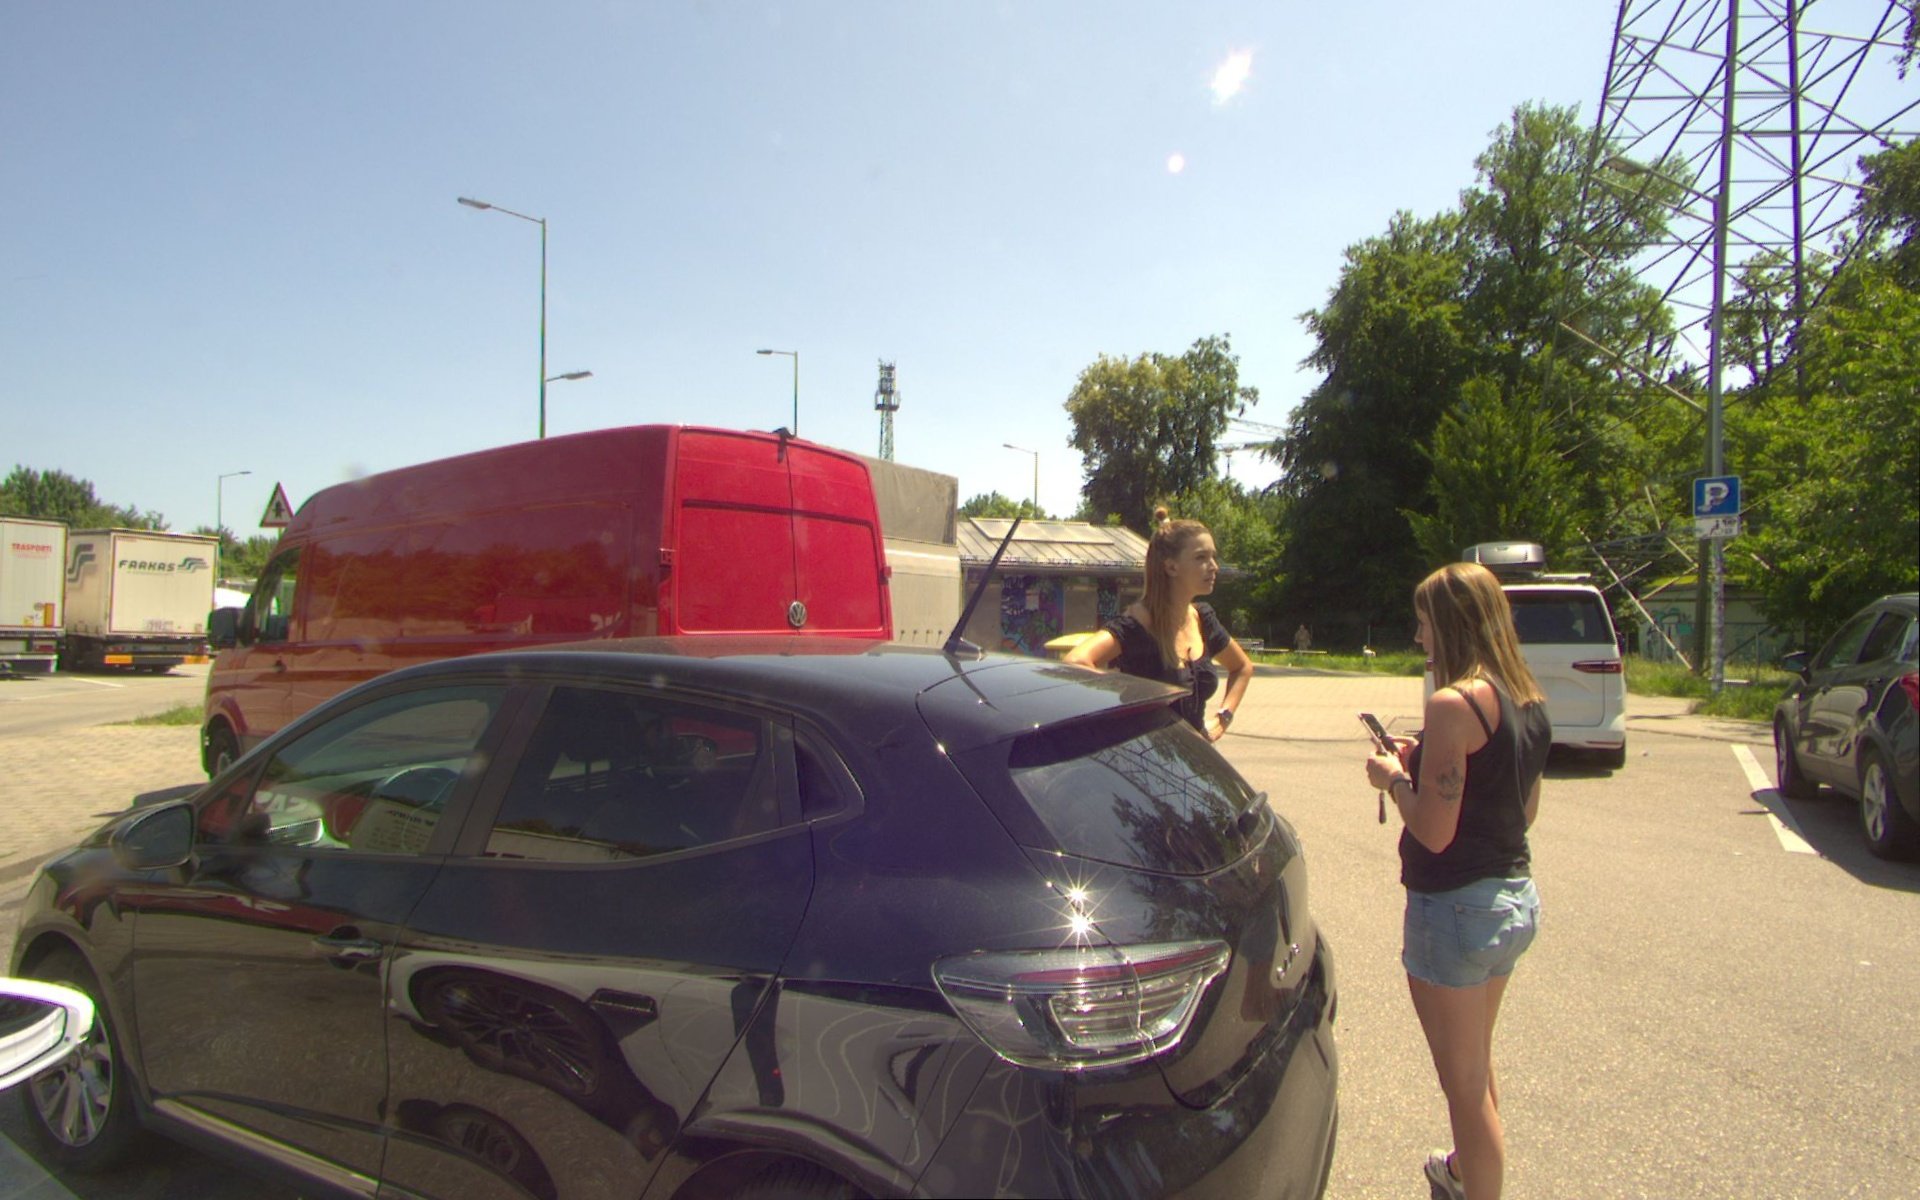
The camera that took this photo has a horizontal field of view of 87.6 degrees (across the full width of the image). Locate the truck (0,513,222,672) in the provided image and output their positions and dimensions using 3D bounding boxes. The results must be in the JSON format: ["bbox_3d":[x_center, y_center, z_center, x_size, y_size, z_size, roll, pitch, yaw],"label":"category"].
[{"bbox_3d":[-27.156,-0.030,31.224,11.800,4.279,2.582,-1,-2,32],"label":"truck"}]

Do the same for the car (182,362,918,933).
[{"bbox_3d":[-3.397,0.249,7.356,6.298,2.668,1.988,0,-1,36],"label":"car"}]

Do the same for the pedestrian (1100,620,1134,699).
[{"bbox_3d":[3.004,1.127,19.173,0.521,1.478,0.576,0,0,23],"label":"pedestrian"}]

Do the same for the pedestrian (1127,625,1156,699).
[{"bbox_3d":[3.414,1.155,18.840,0.439,1.362,0.477,0,0,23],"label":"pedestrian"}]

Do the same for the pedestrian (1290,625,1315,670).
[{"bbox_3d":[15.709,2.165,45.899,0.955,2.039,0.829,0,-1,10],"label":"pedestrian"}]

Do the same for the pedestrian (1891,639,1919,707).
[{"bbox_3d":[17.223,1.289,17.823,0.694,1.178,0.787,-1,-1,22],"label":"pedestrian"}]

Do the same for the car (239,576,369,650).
[{"bbox_3d":[-29.491,0.594,44.946,6.259,3.114,2.495,0,-1,32],"label":"car"}]

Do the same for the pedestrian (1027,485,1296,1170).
[{"bbox_3d":[0.684,0.637,3.264,0.481,1.884,0.906,0,-1,39],"label":"pedestrian"}]

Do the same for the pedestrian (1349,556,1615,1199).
[{"bbox_3d":[1.185,0.727,2.296,0.478,1.615,0.501,0,0,29],"label":"pedestrian"}]

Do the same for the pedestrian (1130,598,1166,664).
[{"bbox_3d":[5.511,0.912,29.400,0.762,1.903,0.840,0,-1,-11],"label":"pedestrian"}]

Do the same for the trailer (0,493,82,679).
[{"bbox_3d":[-28.546,-0.346,27.822,12.642,4.511,2.677,0,-1,32],"label":"trailer"}]

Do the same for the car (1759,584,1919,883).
[{"bbox_3d":[7.044,0.789,6.870,1.811,1.638,4.150,0,-1,30],"label":"car"}]

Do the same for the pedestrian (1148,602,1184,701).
[{"bbox_3d":[3.819,0.942,18.564,0.520,1.783,0.651,0,0,23],"label":"pedestrian"}]

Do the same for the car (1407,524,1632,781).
[{"bbox_3d":[6.645,0.549,11.990,1.901,2.401,4.954,1,-1,29],"label":"car"}]

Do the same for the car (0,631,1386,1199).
[{"bbox_3d":[-0.837,0.837,2.794,3.628,1.476,1.776,-1,-2,27],"label":"car"}]

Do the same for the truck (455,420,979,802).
[{"bbox_3d":[-2.473,0.169,9.900,4.751,2.863,2.514,-1,-2,34],"label":"truck"}]

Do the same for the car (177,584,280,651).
[{"bbox_3d":[-29.961,0.748,41.028,3.943,2.632,2.111,-1,-2,32],"label":"car"}]
